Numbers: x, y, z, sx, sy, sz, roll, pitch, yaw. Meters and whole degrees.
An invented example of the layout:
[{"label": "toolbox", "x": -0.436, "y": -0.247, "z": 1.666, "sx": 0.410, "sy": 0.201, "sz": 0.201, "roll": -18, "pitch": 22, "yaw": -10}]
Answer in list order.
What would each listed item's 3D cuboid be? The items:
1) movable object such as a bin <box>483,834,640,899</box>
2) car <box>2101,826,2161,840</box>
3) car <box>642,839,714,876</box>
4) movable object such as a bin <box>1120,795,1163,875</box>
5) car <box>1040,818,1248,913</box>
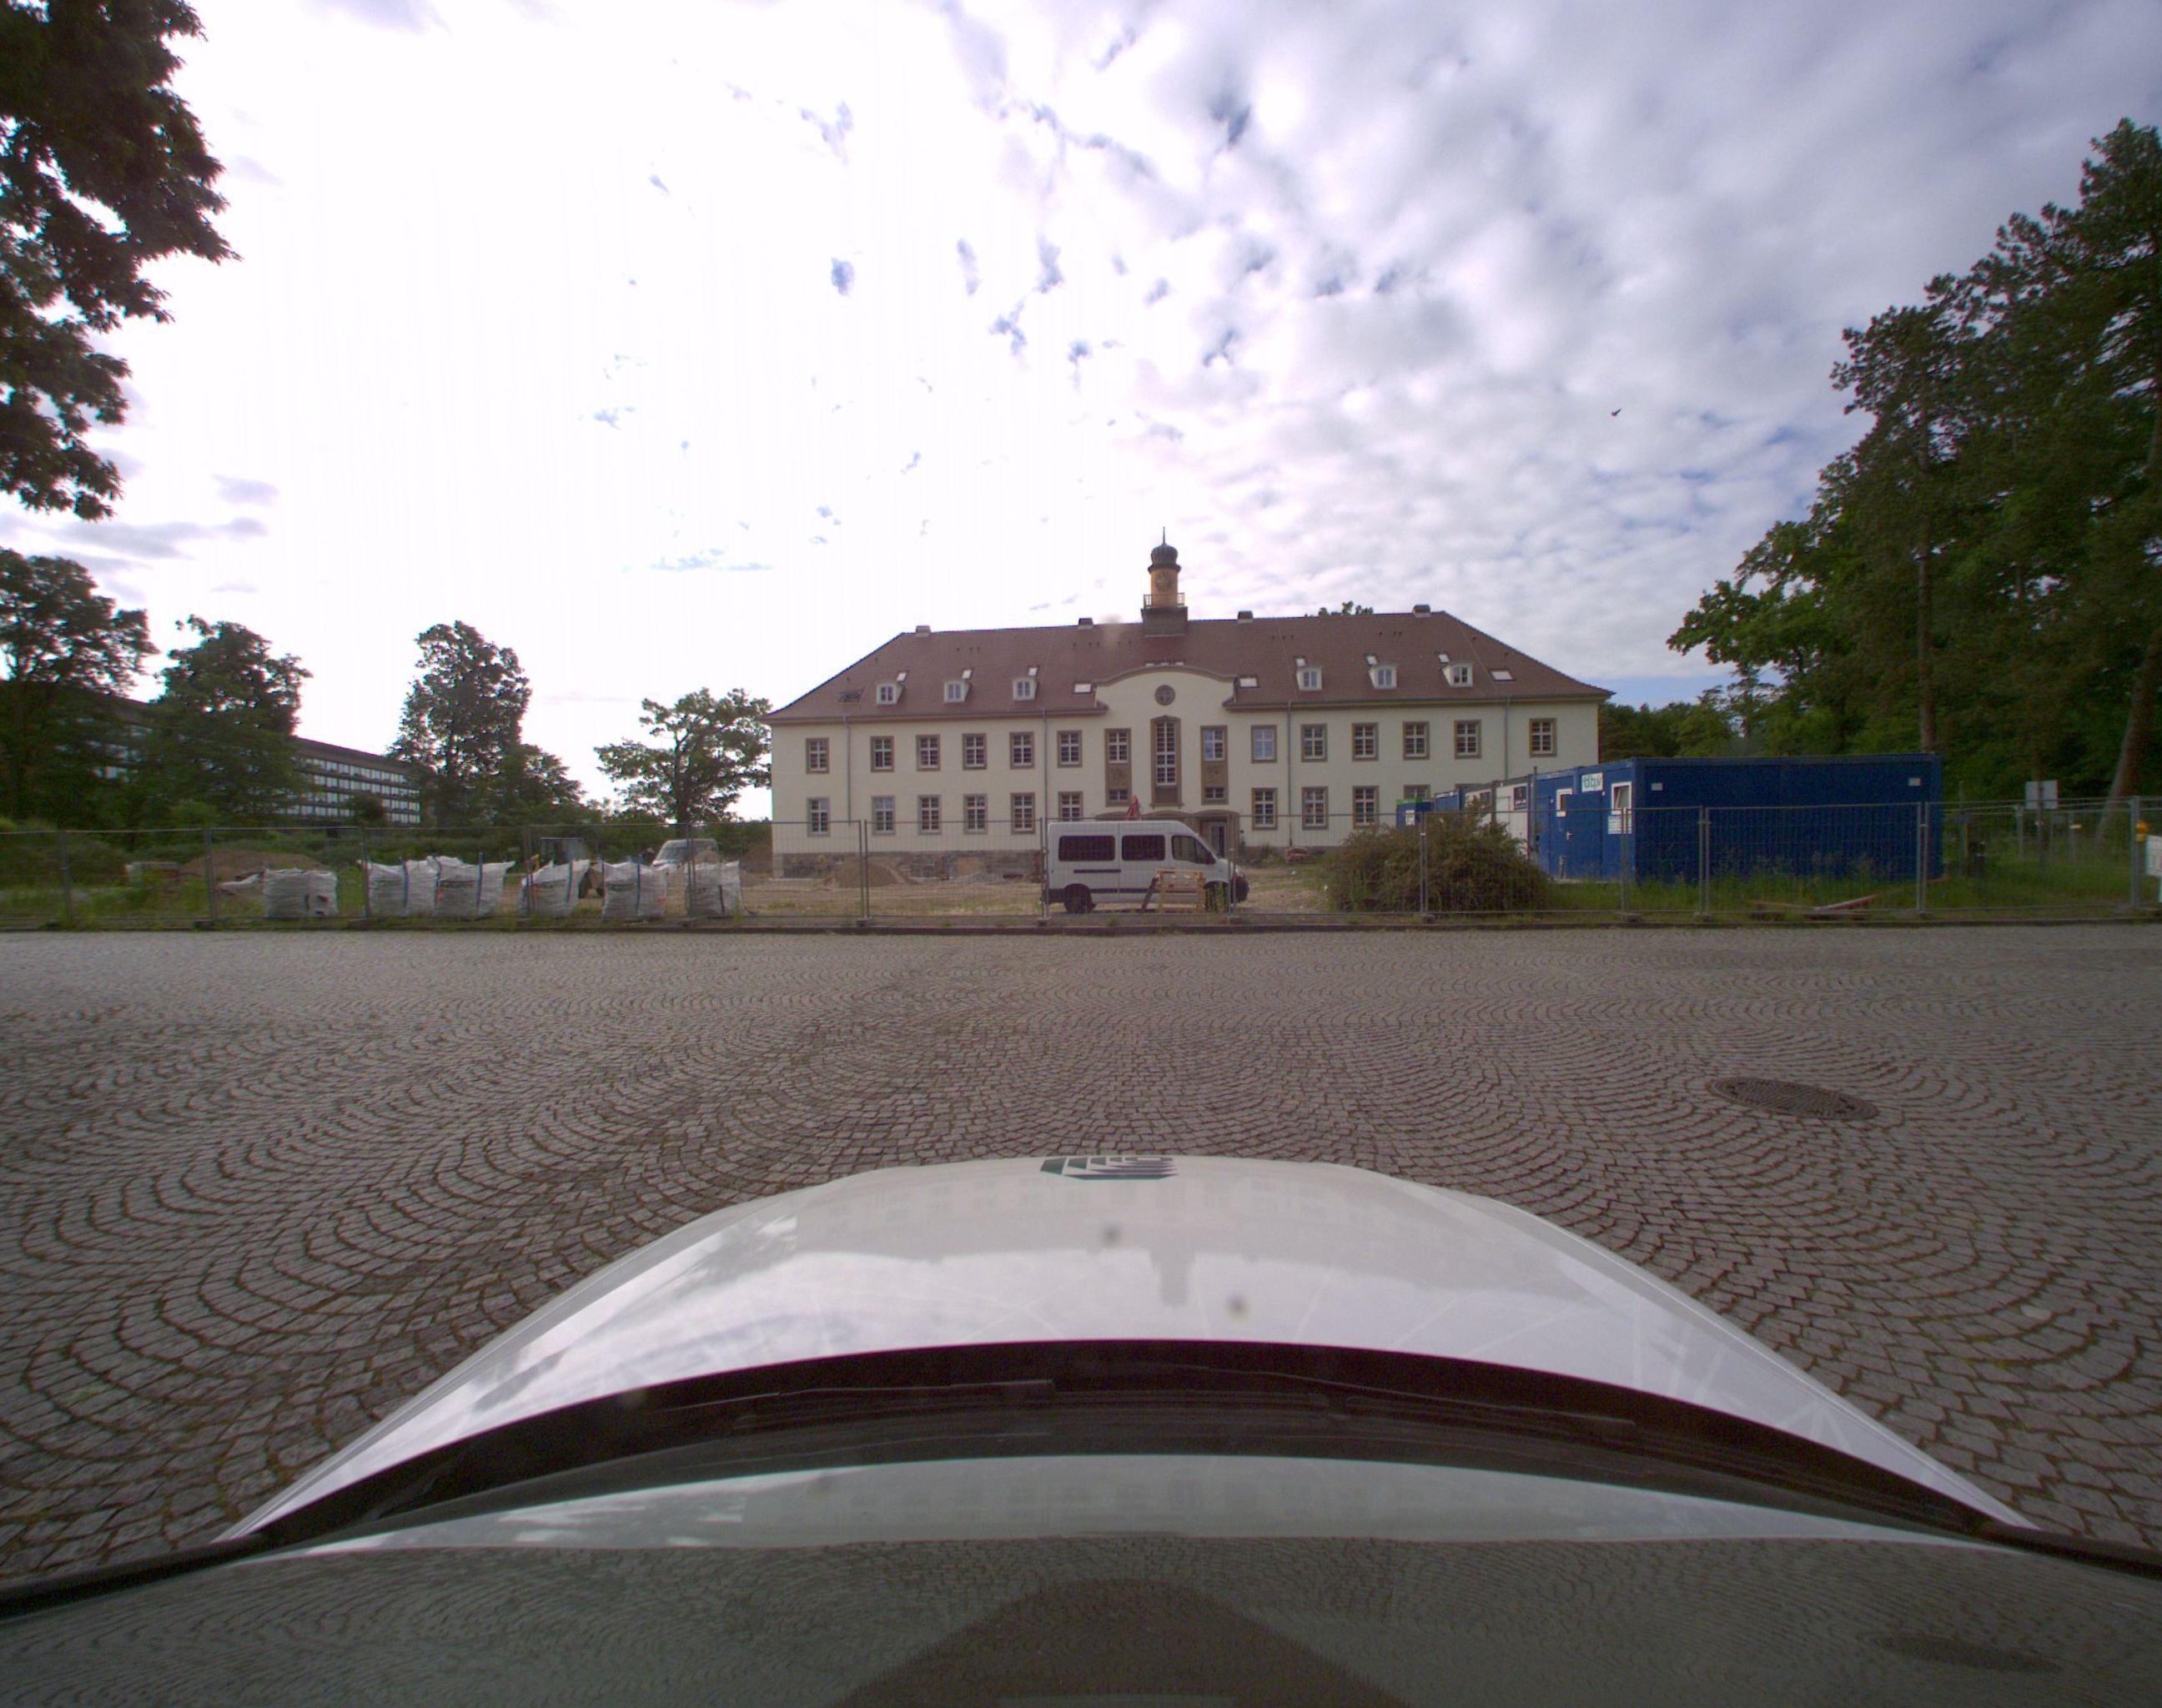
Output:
[{"label": "movable object such as a bin", "x": -21.487, "y": 0.515, "z": 33.801, "sx": 5.305, "sy": 2.556, "sz": 2.003, "roll": -1, "pitch": 0, "yaw": 4}, {"label": "car", "x": 82.581, "y": -1.626, "z": 63.649, "sx": 1.260, "sy": 1.064, "sz": 3.361, "roll": -1, "pitch": 0, "yaw": -29}, {"label": "car", "x": -25.096, "y": 0.176, "z": 50.943, "sx": 2.061, "sy": 2.150, "sz": 4.898, "roll": -1, "pitch": 0, "yaw": 0}, {"label": "movable object such as a bin", "x": 2.983, "y": -0.903, "z": 41.283, "sx": 1.985, "sy": 3.771, "sz": 5.321, "roll": -1, "pitch": 0, "yaw": 3}, {"label": "car", "x": 1.697, "y": 0.297, "z": 21.621, "sx": 5.234, "sy": 2.344, "sz": 1.914, "roll": -1, "pitch": 0, "yaw": 7}]
